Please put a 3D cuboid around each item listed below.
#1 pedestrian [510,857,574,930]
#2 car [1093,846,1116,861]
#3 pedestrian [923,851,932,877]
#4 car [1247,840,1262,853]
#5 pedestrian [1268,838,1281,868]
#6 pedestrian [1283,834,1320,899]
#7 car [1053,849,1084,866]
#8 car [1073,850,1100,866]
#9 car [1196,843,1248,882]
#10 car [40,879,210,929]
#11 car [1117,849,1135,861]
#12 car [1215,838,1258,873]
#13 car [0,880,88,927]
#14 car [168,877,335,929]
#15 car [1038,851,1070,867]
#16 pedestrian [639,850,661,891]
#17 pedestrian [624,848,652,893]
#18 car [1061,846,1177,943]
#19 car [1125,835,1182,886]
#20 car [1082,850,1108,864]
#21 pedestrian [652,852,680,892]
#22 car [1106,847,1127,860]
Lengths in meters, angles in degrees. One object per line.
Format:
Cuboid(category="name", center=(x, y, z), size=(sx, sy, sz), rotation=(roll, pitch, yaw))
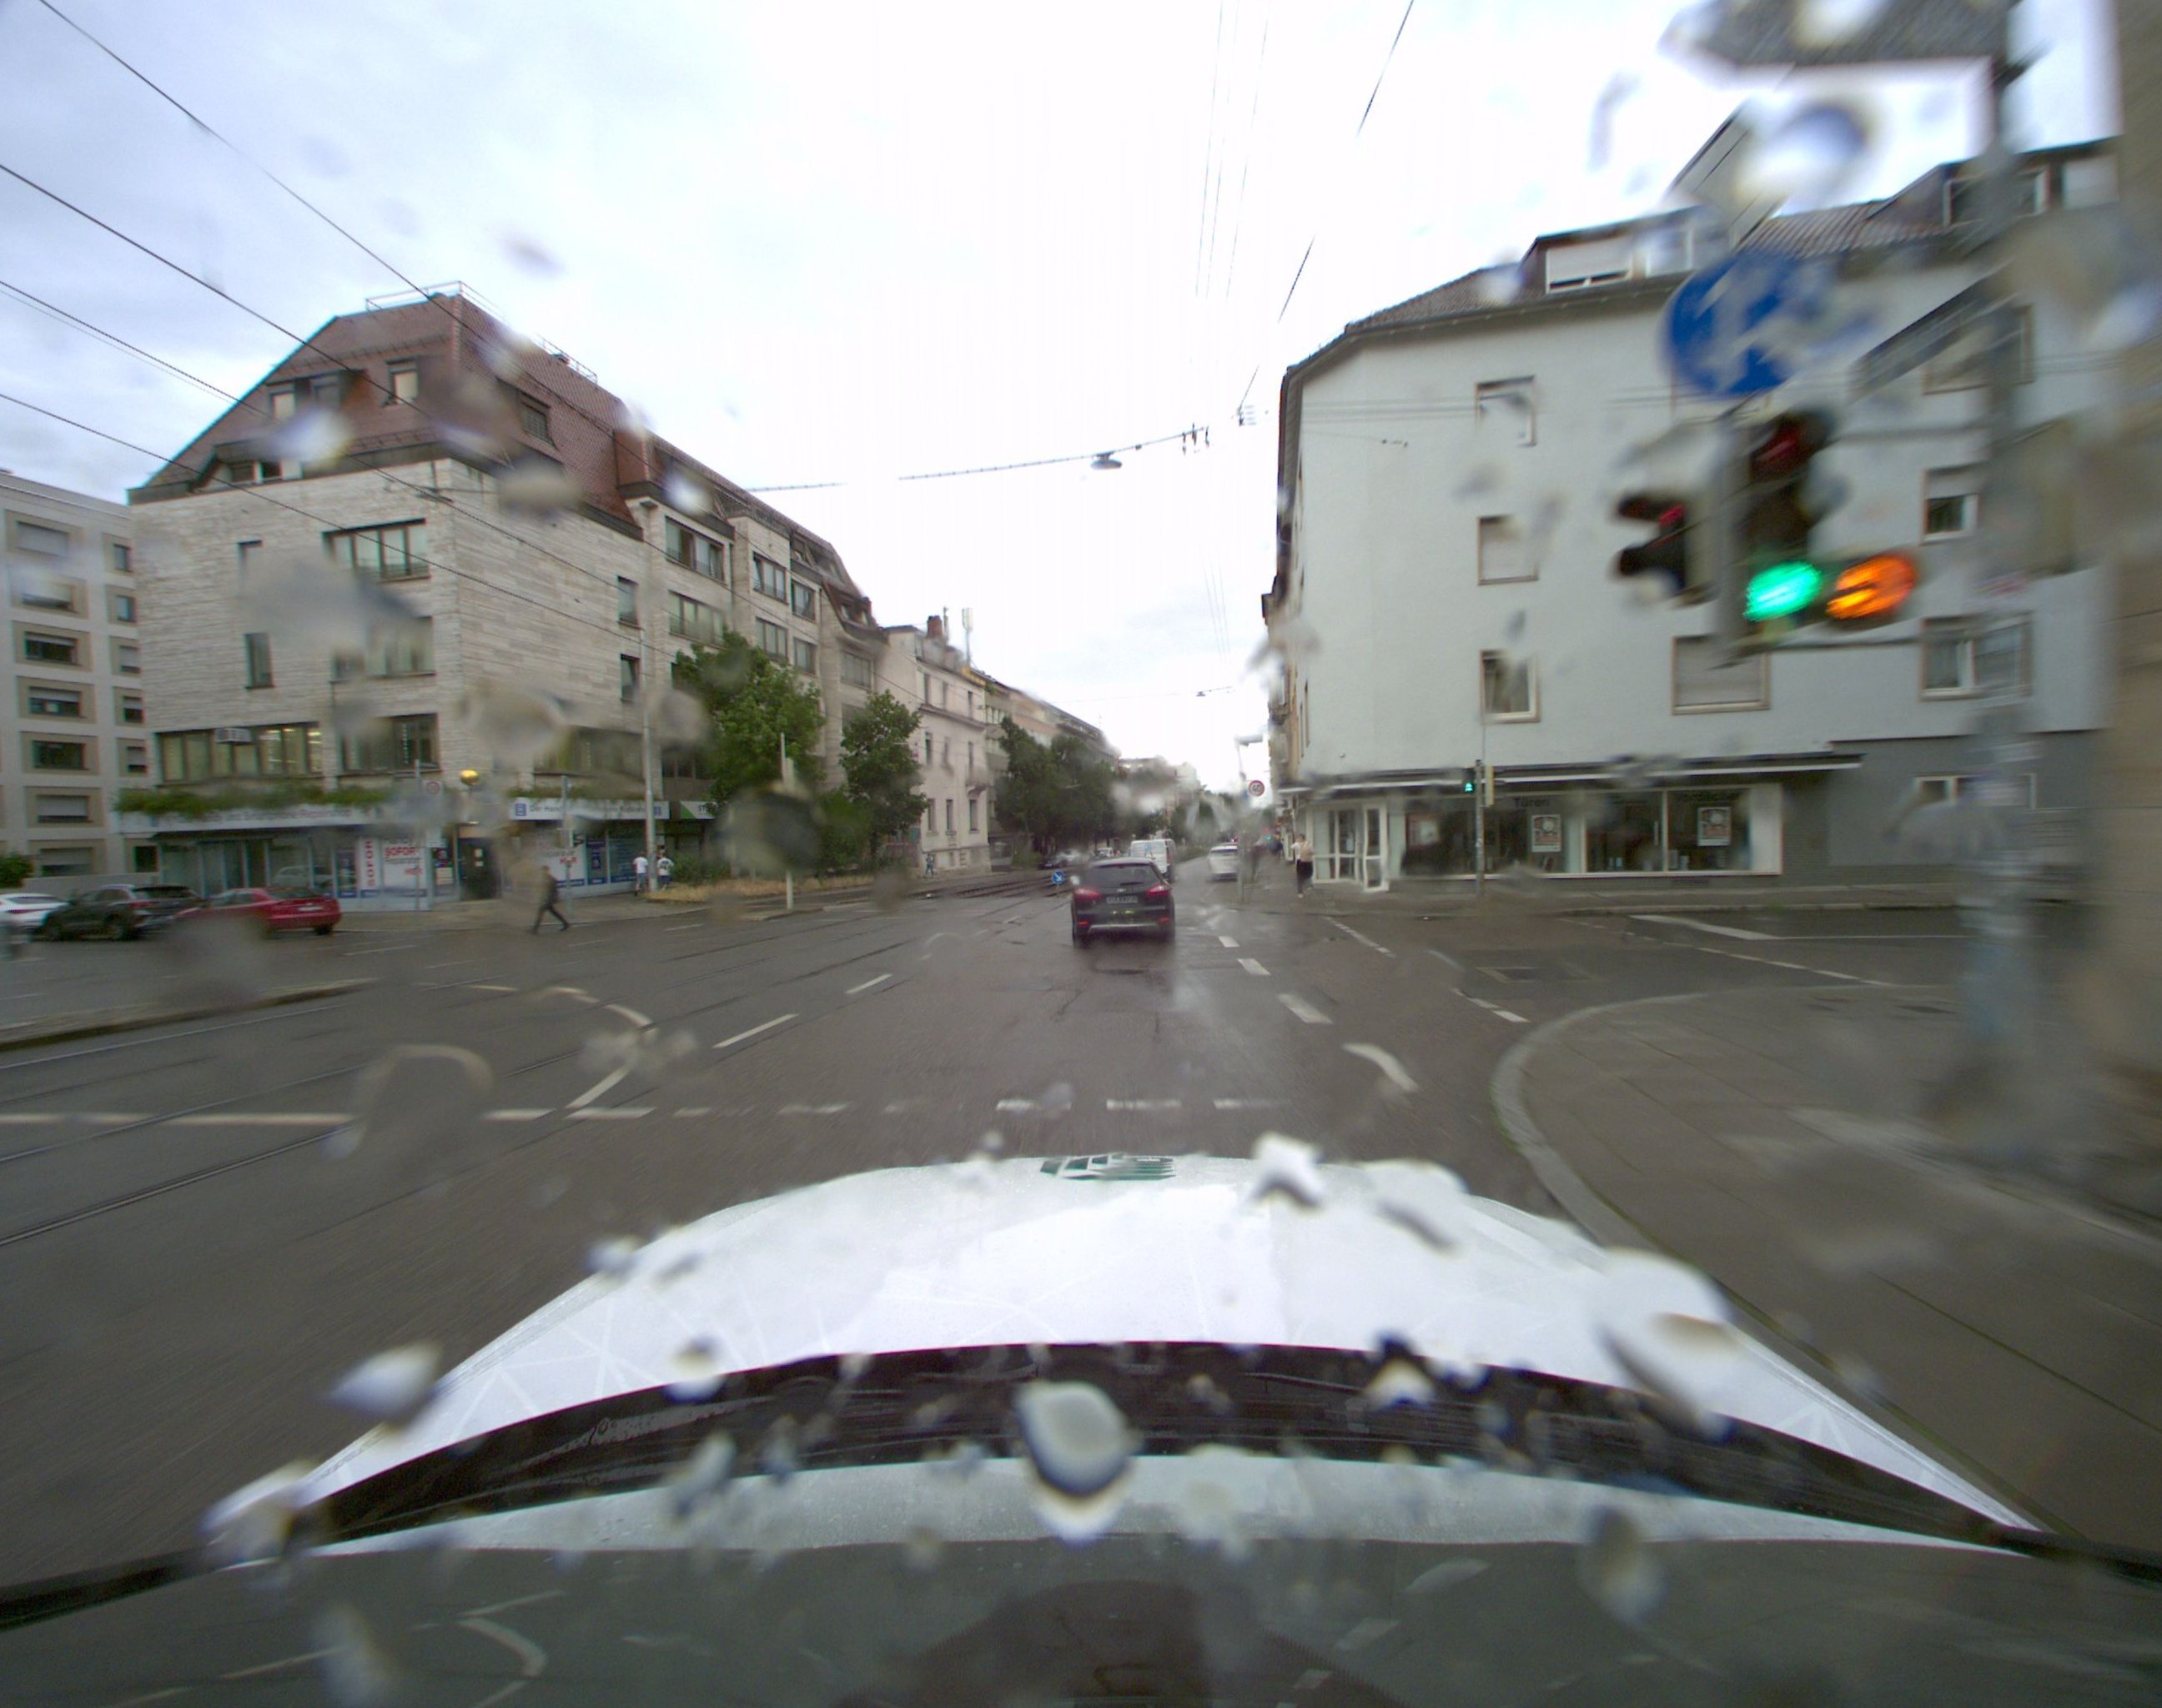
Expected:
Cuboid(category="pedestrian", center=(-13.892, 1.008, 21.023), size=(0.926, 1.830, 0.961), rotation=(1, -1, 5))
Cuboid(category="car", center=(2.788, -0.030, 95.663), size=(1.842, 1.701, 4.447), rotation=(-1, -1, 14))
Cuboid(category="pedestrian", center=(-9.673, 0.628, 51.329), size=(0.466, 1.652, 0.582), rotation=(1, -1, 1))
Cuboid(category="car", center=(21.173, -0.905, 99.321), size=(1.659, 1.421, 3.489), rotation=(-2, 0, 13))
Cuboid(category="pedestrian", center=(12.261, -0.086, 51.605), size=(0.698, 1.819, 0.965), rotation=(-4, 1, 13))
Cuboid(category="pedestrian", center=(5.587, 0.316, 20.683), size=(0.685, 1.572, 0.763), rotation=(-2, -1, 2))
Cuboid(category="car", center=(-1.187, 0.377, 78.392), size=(1.842, 1.548, 4.738), rotation=(-1, -1, 14))
Cuboid(category="car", center=(0.639, 0.398, 84.836), size=(1.842, 1.548, 4.447), rotation=(-1, -1, 14))
Cuboid(category="car", center=(6.042, 0.362, 34.522), size=(1.789, 1.455, 4.603), rotation=(-3, -1, 14))
Cuboid(category="car", center=(-27.496, 1.422, 23.453), size=(3.668, 1.318, 1.599), rotation=(-2, -1, 12))
Cuboid(category="car", center=(6.044, 0.110, 108.412), size=(1.656, 1.558, 4.061), rotation=(-1, -1, 14))
Cuboid(category="car", center=(7.935, 0.089, 41.327), size=(1.832, 1.632, 4.603), rotation=(-2, -1, 14))
Cuboid(category="car", center=(-32.438, 1.485, 24.343), size=(4.457, 1.318, 1.599), rotation=(-2, -1, 12))
Cuboid(category="car", center=(-22.765, 1.342, 22.373), size=(3.666, 1.318, 1.600), rotation=(-2, -1, 15))
Cuboid(category="car", center=(-2.353, 0.445, 72.569), size=(1.682, 1.377, 4.738), rotation=(-1, -1, 14))
Cuboid(category="pedestrian", center=(-17.258, 0.656, 32.615), size=(0.500, 1.598, 0.587), rotation=(0, -1, 11))
Cuboid(category="pedestrian", center=(-17.342, 0.653, 31.889), size=(0.643, 1.724, 0.686), rotation=(0, -1, 11))
Cuboid(category="car", center=(0.726, 0.690, 15.292), size=(1.835, 1.507, 4.003), rotation=(-2, -1, 3))
Cuboid(category="car", center=(3.256, 0.217, 35.755), size=(1.976, 2.060, 4.659), rotation=(-2, 1, 11))
Cuboid(category="car", center=(1.594, 0.375, 89.850), size=(1.842, 1.418, 4.447), rotation=(-4, -1, 13))
Cuboid(category="pedestrian", center=(-16.382, 0.718, 32.149), size=(0.643, 1.549, 0.686), rotation=(0, -1, 11))
Cuboid(category="car", center=(4.453, -0.092, 101.288), size=(1.842, 1.527, 4.061), rotation=(-1, -1, 14))
